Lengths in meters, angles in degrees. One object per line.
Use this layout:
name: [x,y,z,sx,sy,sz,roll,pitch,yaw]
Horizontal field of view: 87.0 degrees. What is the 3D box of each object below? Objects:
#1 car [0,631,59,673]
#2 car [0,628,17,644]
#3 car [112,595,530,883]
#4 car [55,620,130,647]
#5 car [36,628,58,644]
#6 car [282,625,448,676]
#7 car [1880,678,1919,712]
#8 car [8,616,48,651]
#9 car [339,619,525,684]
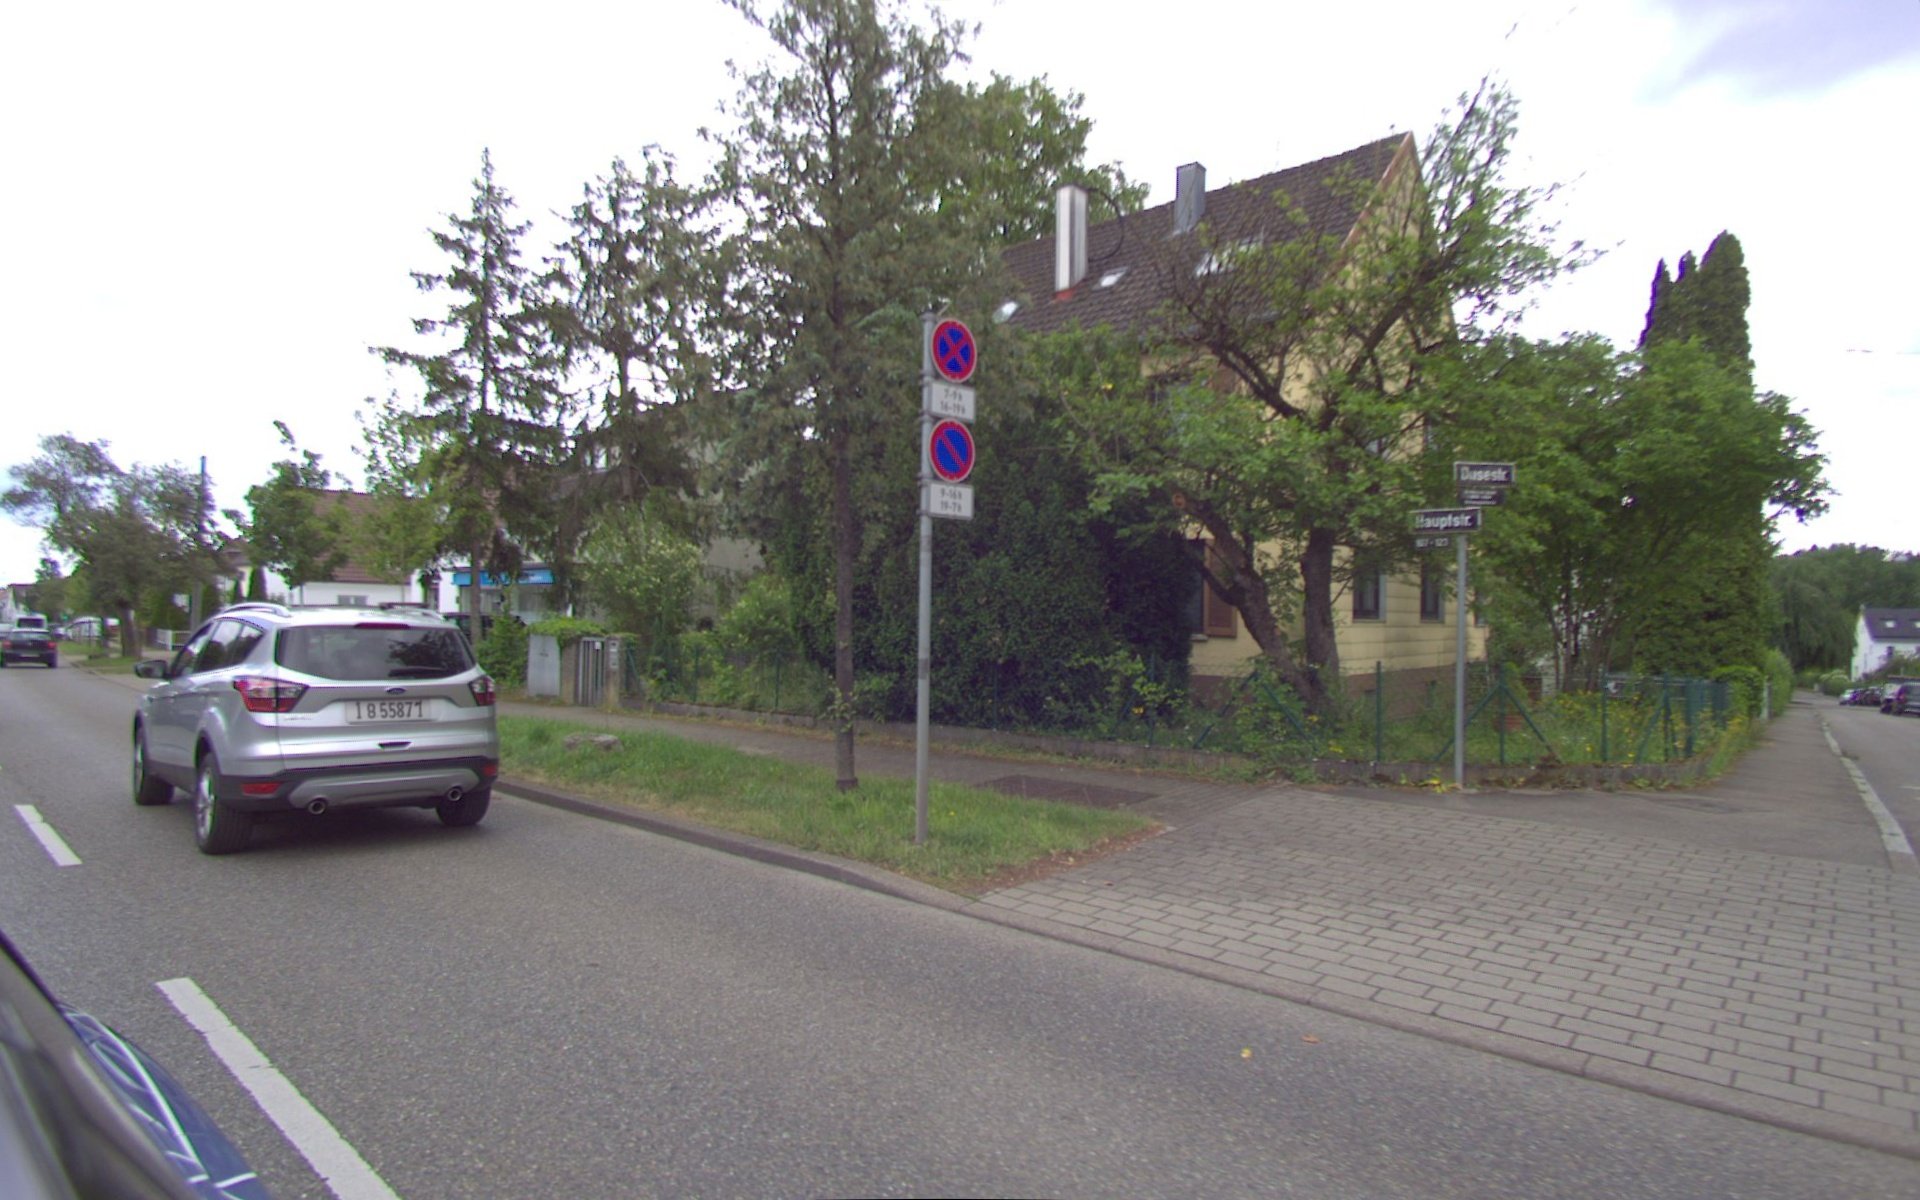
car: [-35.192,1.952,38.048,3.471,1.483,1.557,-1,-4,43]
car: [-107.482,4.095,113.985,1.774,1.765,4.303,3,-3,-43]
car: [-5.252,0.907,8.092,4.099,1.719,1.723,-2,-4,42]
car: [-91.420,3.521,106.790,5.525,2.583,2.137,3,-3,-25]
car: [-113.613,4.480,125.938,1.970,1.964,4.903,2,-3,-43]
car: [-18.954,1.571,32.394,1.815,1.378,4.235,-1,0,40]
car: [52.148,5.233,56.042,1.633,1.785,3.356,-1,-4,41]
car: [-73.395,2.634,79.704,2.049,2.602,5.303,5,-4,-44]
car: [-14.800,1.377,28.478,4.281,1.630,1.975,0,-1,-43]
